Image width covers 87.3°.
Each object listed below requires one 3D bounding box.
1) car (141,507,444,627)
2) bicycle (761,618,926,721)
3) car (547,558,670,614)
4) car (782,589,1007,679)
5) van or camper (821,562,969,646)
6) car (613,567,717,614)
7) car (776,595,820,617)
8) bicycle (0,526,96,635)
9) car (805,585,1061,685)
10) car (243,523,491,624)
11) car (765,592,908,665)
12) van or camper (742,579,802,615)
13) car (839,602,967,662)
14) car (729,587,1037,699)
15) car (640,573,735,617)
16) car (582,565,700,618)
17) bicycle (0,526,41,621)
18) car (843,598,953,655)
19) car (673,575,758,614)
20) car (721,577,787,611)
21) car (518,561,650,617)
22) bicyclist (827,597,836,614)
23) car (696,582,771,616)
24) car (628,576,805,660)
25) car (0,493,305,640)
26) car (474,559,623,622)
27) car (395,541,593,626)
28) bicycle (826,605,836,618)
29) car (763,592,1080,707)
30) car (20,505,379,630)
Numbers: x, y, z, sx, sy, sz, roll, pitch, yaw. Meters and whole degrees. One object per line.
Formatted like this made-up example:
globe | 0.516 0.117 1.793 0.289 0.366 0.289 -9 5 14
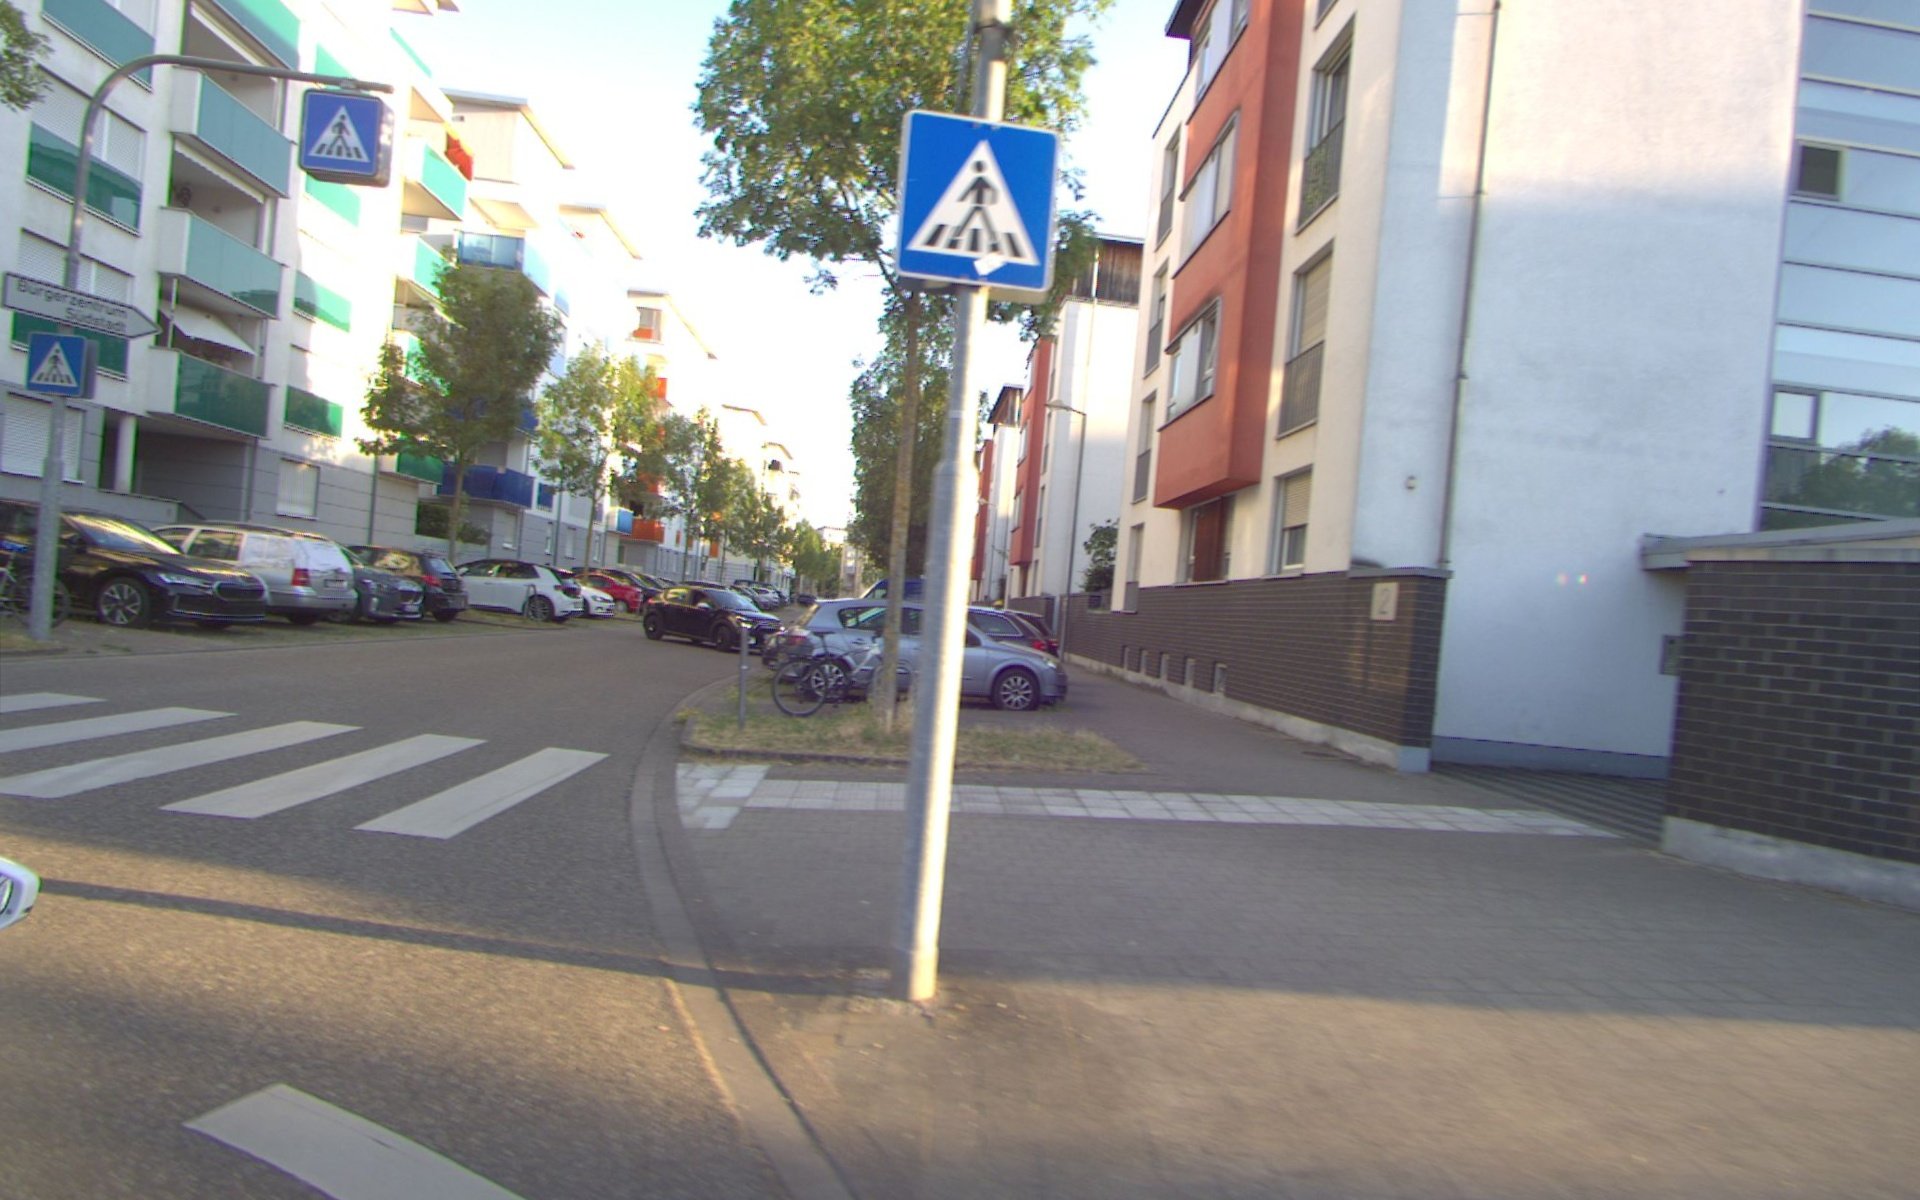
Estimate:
car | -12.216 -0.565 18.634 4.221 1.511 1.742 8 -1 -4
bicycle | -1.318 0.785 11.497 1.789 1.080 0.567 2 0 -6
car | -13.310 -0.514 38.294 4.034 1.526 1.664 8 -1 -8
car | -1.458 0.744 22.114 4.677 1.605 1.757 4 -1 -7
van or camper | -2.932 0.215 44.796 6.206 3.126 2.440 5 0 -8
car | -13.497 -0.409 46.208 4.182 1.526 1.750 8 -1 -8
car | -16.768 0.639 104.197 4.178 1.658 1.692 8 -1 -2
bicycle | -10.711 -0.282 11.030 1.809 1.084 0.473 8 -1 -8
car | -0.496 0.672 19.626 4.698 1.574 1.711 4 -1 0
car | -12.603 -0.529 21.509 4.216 1.475 1.744 8 -1 5
car | -3.535 0.809 28.940 3.851 1.732 1.722 5 0 -8
van or camper | -14.698 -0.200 78.874 4.179 2.237 1.692 8 -1 -4
car | -1.835 1.007 31.968 3.851 1.534 1.722 5 0 -8
car | -1.266 0.718 16.912 4.829 1.497 1.710 4 -1 -6
car | -13.754 -0.233 50.910 4.178 1.554 1.692 8 -1 -2
car | -12.985 -0.327 41.164 4.182 1.526 1.750 8 -1 -8
bicycle | -11.788 -0.427 11.416 2.001 1.058 0.473 8 -1 -8
car | -2.476 1.032 39.686 4.034 1.644 1.722 8 -1 -8
car | -13.629 -0.301 56.218 4.178 1.554 1.692 8 -1 -2
car | -14.490 -0.423 70.867 4.178 1.800 1.692 8 -1 -2
car | -13.378 -0.368 35.982 4.034 1.377 1.664 8 -1 -8
bicyclist | -13.011 0.512 101.820 0.754 1.647 0.662 5 0 -5
car | -14.212 -0.037 63.208 4.178 1.554 1.692 8 -1 -2
car | -6.076 0.436 24.990 4.108 1.480 1.776 7 -1 31
car | -11.941 -0.555 13.536 4.802 1.475 1.938 8 -1 -1
car | -12.740 -0.279 31.334 3.854 1.360 1.722 8 -1 -8
car | -12.049 -0.398 26.233 4.223 1.525 1.684 8 -1 -7
bicycle | -13.063 1.160 101.737 0.758 1.282 1.781 5 -1 -5
car | -0.558 0.685 14.247 4.215 1.476 1.679 1 0 -6
car | -12.055 -0.468 16.156 4.333 1.526 1.743 5 -1 0
